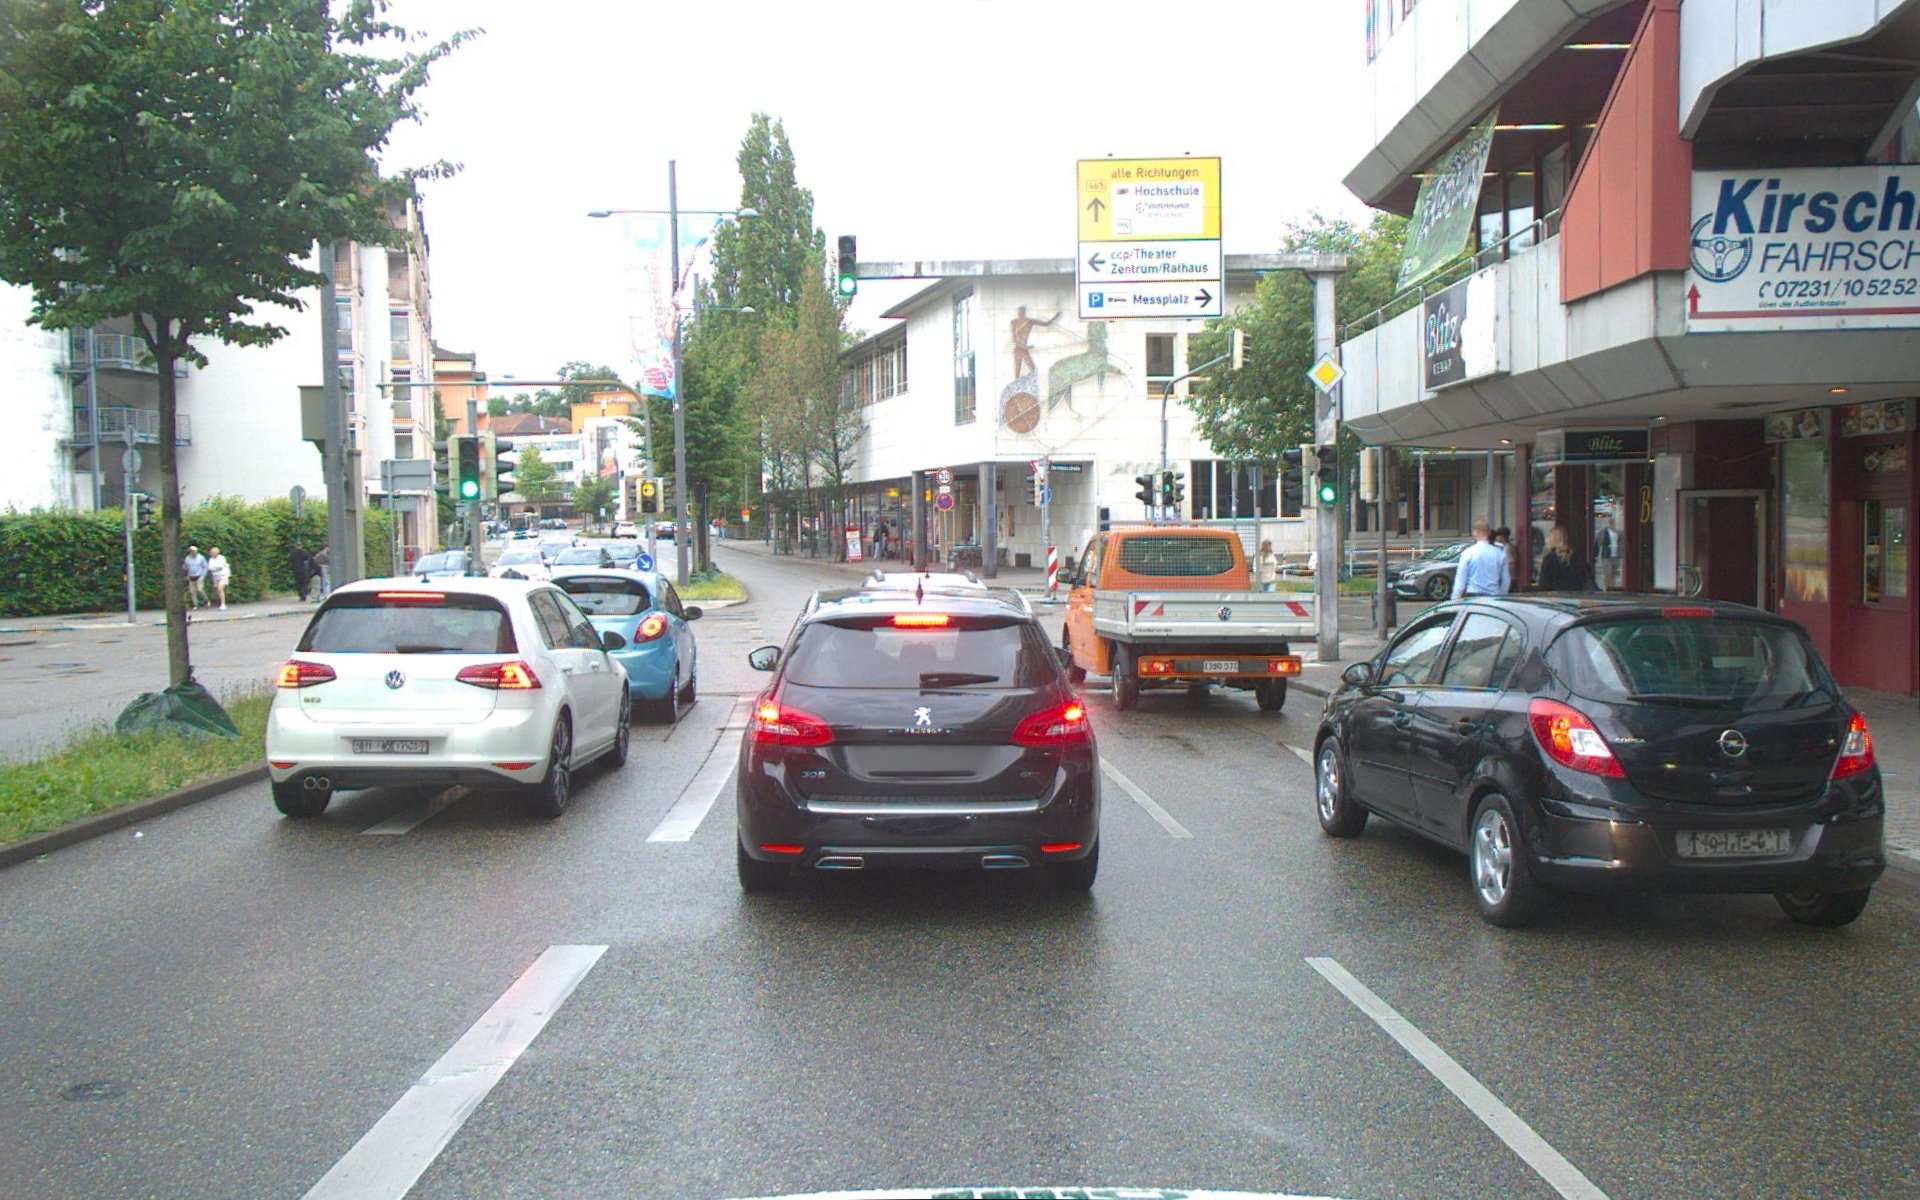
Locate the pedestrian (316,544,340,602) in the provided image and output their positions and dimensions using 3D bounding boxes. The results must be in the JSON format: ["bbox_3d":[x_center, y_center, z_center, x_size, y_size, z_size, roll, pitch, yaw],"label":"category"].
[{"bbox_3d":[-19.632,-0.835,51.366,0.528,1.778,0.564,1,-1,-6],"label":"pedestrian"}]

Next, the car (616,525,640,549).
[{"bbox_3d":[-29.235,-5.526,145.623,1.679,1.915,3.980,1,-1,-18],"label":"car"}]

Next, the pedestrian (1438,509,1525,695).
[{"bbox_3d":[5.635,0.027,17.903,0.721,1.968,0.640,1,-1,-1],"label":"pedestrian"}]

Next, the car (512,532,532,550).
[{"bbox_3d":[-54.086,-7.264,204.081,1.964,2.049,3.976,1,-1,-20],"label":"car"}]

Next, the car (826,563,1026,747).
[{"bbox_3d":[-0.319,0.427,15.823,1.662,1.512,3.793,1,1,-1],"label":"car"}]

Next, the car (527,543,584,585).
[{"bbox_3d":[-14.915,-1.340,61.063,1.602,1.512,3.605,1,2,-7],"label":"car"}]

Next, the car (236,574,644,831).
[{"bbox_3d":[-3.341,0.562,11.398,1.742,1.454,3.840,1,1,-3],"label":"car"}]

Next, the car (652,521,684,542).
[{"bbox_3d":[-24.965,-5.830,141.265,1.701,1.516,4.700,1,-1,-23],"label":"car"}]

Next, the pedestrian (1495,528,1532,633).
[{"bbox_3d":[8.937,-0.315,26.706,0.388,1.668,0.504,-1,-1,0],"label":"pedestrian"}]

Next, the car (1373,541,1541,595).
[{"bbox_3d":[12.091,-0.770,40.420,3.610,1.233,1.836,1,-1,3],"label":"car"}]

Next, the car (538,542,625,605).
[{"bbox_3d":[-10.509,-0.700,46.162,1.710,1.607,3.996,1,-1,-4],"label":"car"}]

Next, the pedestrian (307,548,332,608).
[{"bbox_3d":[-19.245,-0.650,49.706,0.529,1.778,0.746,1,-1,-9],"label":"pedestrian"}]

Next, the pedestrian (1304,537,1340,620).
[{"bbox_3d":[7.390,-0.431,33.792,0.623,1.688,0.734,1,-1,6],"label":"pedestrian"}]

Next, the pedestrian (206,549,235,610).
[{"bbox_3d":[-20.172,-0.556,45.131,0.569,1.627,0.526,1,-1,-7],"label":"pedestrian"}]

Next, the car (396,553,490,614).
[{"bbox_3d":[-13.541,-0.462,43.491,1.543,1.512,3.607,1,1,-4],"label":"car"}]

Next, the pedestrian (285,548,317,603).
[{"bbox_3d":[-20.203,-0.740,50.694,0.624,1.671,0.734,1,-1,2],"label":"pedestrian"}]

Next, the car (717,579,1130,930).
[{"bbox_3d":[-0.136,0.632,8.946,1.741,1.454,3.843,1,1,0],"label":"car"}]

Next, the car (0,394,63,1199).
[{"bbox_3d":[-3.032,0.446,1.408,1.873,1.903,5.071,1,-1,-2],"label":"car"}]

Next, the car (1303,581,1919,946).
[{"bbox_3d":[3.101,0.648,8.667,1.584,1.454,3.839,1,1,-4],"label":"car"}]

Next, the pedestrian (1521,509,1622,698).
[{"bbox_3d":[6.664,0.040,18.054,0.721,1.968,0.640,-4,-1,-1],"label":"pedestrian"}]

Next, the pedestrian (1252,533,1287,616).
[{"bbox_3d":[6.350,-0.518,33.954,0.623,1.688,0.734,1,-1,6],"label":"pedestrian"}]

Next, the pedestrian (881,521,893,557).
[{"bbox_3d":[-3.639,-3.049,82.622,0.461,1.778,0.537,1,-1,-21],"label":"pedestrian"}]

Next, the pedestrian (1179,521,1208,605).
[{"bbox_3d":[5.454,-0.848,38.688,0.623,1.930,0.734,1,-1,6],"label":"pedestrian"}]

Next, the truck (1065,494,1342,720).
[{"bbox_3d":[2.569,0.010,18.870,2.134,2.210,5.018,1,1,-3],"label":"truck"}]

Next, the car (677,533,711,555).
[{"bbox_3d":[-19.279,-4.067,119.809,1.759,1.479,4.486,-3,3,-17],"label":"car"}]

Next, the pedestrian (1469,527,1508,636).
[{"bbox_3d":[8.432,-0.295,26.393,0.417,1.712,0.450,-1,-1,-2],"label":"pedestrian"}]

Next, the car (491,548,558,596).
[{"bbox_3d":[-14.172,-0.927,53.920,1.602,1.512,3.605,1,2,-7],"label":"car"}]

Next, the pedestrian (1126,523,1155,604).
[{"bbox_3d":[4.070,-0.817,37.366,0.623,1.788,0.734,1,-1,6],"label":"pedestrian"}]

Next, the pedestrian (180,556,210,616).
[{"bbox_3d":[-20.858,-0.373,45.080,0.569,1.627,0.526,1,-1,-7],"label":"pedestrian"}]

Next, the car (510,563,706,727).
[{"bbox_3d":[-3.599,0.390,17.420,1.601,1.512,3.606,1,2,-6],"label":"car"}]

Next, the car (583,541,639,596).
[{"bbox_3d":[-11.470,-1.000,54.548,1.713,1.669,3.989,1,-1,-11],"label":"car"}]

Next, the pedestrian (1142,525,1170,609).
[{"bbox_3d":[4.589,-0.763,38.827,0.623,1.930,0.734,1,-1,6],"label":"pedestrian"}]
